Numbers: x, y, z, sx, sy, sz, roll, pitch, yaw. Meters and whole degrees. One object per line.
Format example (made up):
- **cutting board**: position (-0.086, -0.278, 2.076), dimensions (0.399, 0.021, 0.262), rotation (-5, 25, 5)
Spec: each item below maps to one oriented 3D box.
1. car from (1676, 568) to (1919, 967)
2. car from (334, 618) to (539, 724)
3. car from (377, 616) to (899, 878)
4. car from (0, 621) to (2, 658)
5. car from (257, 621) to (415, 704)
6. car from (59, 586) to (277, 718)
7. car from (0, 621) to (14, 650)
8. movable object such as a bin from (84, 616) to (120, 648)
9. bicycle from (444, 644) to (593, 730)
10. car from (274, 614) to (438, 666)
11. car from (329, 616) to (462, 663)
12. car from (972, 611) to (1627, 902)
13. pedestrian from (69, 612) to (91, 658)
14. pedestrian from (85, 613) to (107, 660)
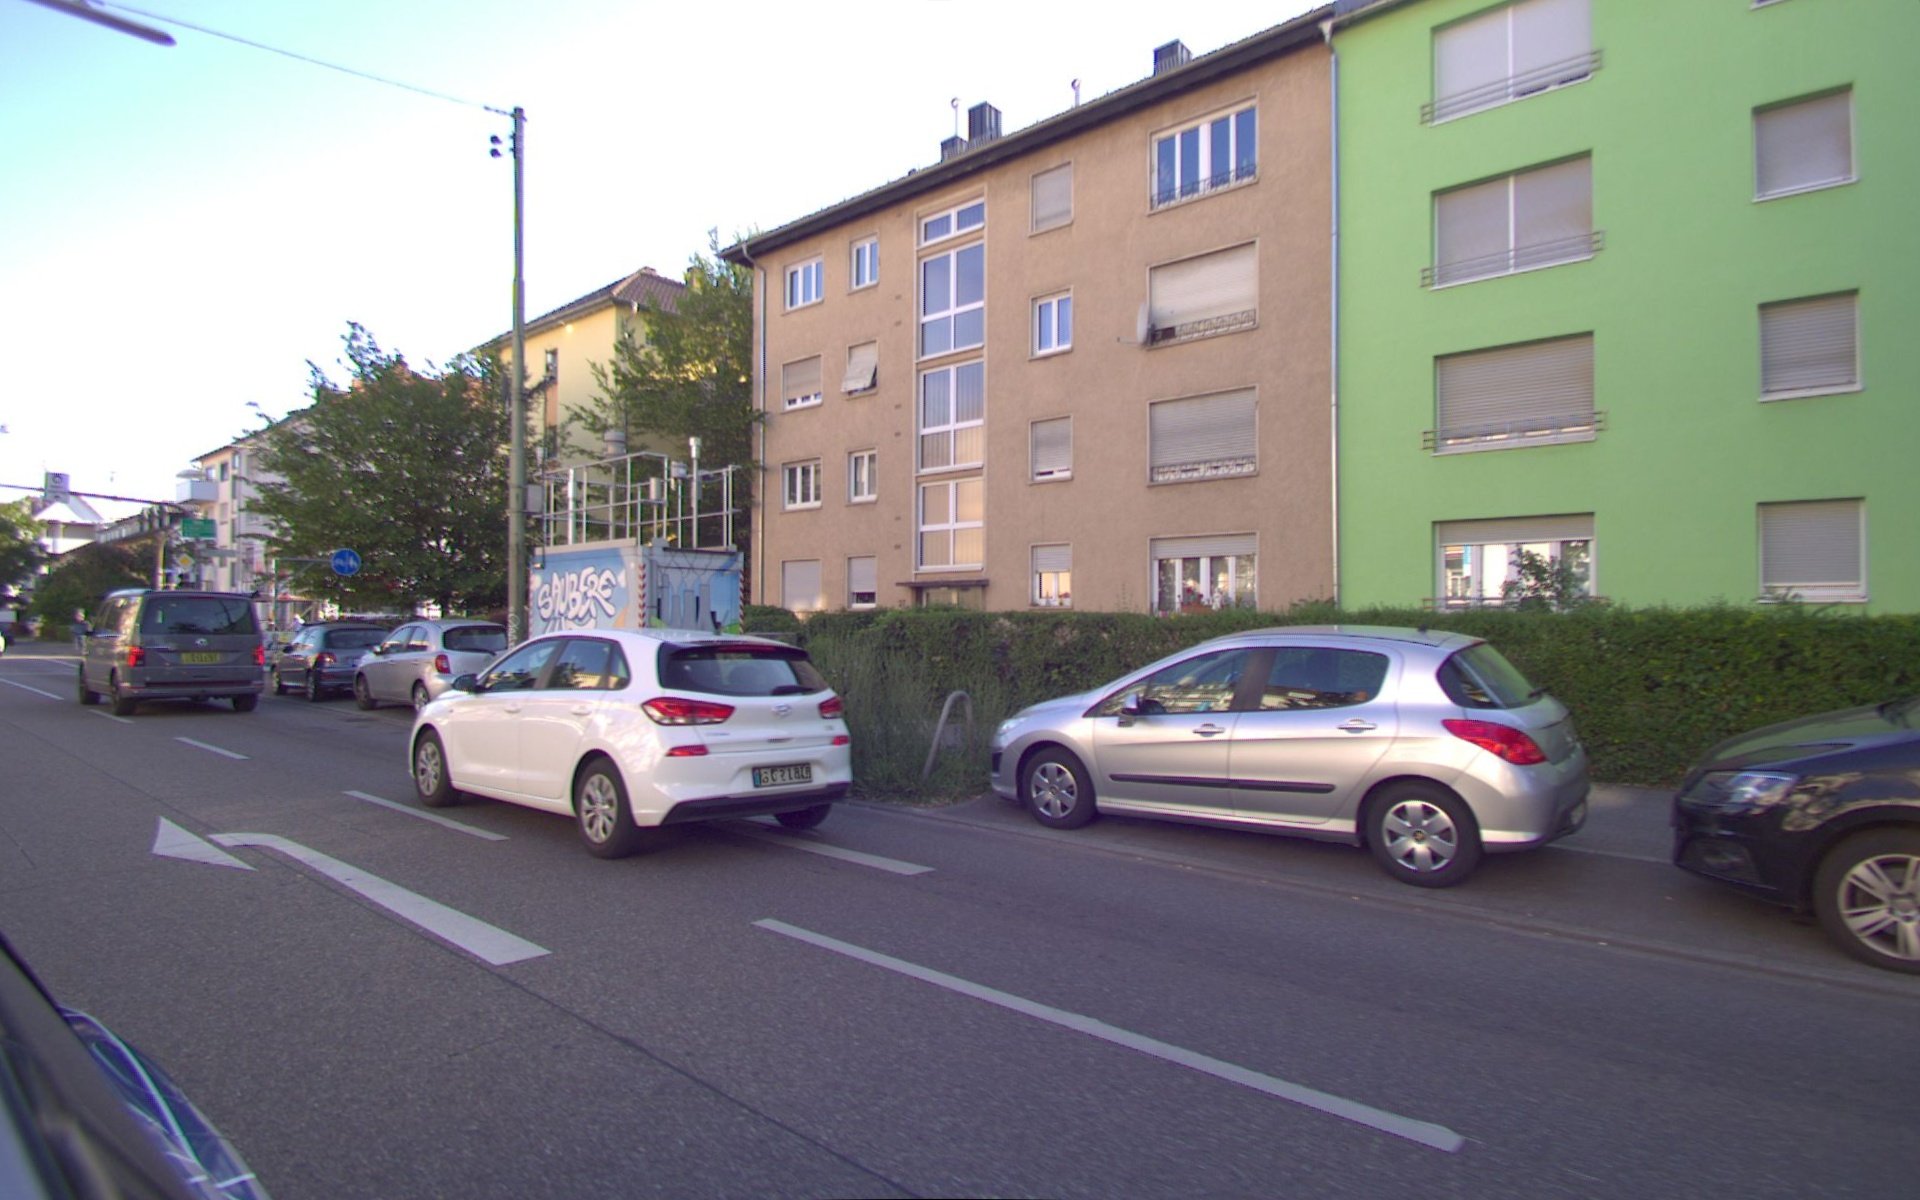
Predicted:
- **car**: position (5.858, 0.727, 4.141), dimensions (4.615, 1.746, 1.765), rotation (-1, -2, 42)
- **car**: position (-8.766, 1.096, 16.853), dimensions (3.781, 1.564, 1.621), rotation (-1, -2, 38)
- **car**: position (-2.588, 0.901, 7.667), dimensions (4.106, 1.457, 1.797), rotation (-1, -4, 40)
- **car**: position (-40.286, 1.586, 40.889), dimensions (4.669, 1.485, 1.817), rotation (-1, -3, 41)
- **car**: position (-12.497, 1.172, 20.173), dimensions (3.942, 1.490, 1.636), rotation (-1, -2, 42)
- **car**: position (-13.679, 0.851, 17.370), dimensions (4.774, 1.961, 1.973), rotation (-1, -4, 41)
- **car**: position (-56.000, 2.022, 58.181), dimensions (3.946, 1.626, 1.788), rotation (-1, -2, 38)
- **movable object such as a bin**: position (-48.424, 1.800, 57.123), dimensions (1.180, 1.670, 1.293), rotation (0, 3, 40)
- **bicycle**: position (-6.584, 1.266, 15.179), dimensions (0.583, 1.097, 1.984), rotation (-1, 0, 41)
- **car**: position (-21.007, 1.344, 35.364), dimensions (1.841, 1.626, 4.547), rotation (-1, 0, 38)
- **car**: position (-23.338, 1.591, 41.964), dimensions (1.907, 1.862, 4.426), rotation (-1, -2, 40)
- **car**: position (2.232, 0.867, 7.327), dimensions (4.187, 1.532, 1.666), rotation (-1, -2, 39)
- **pedestrian**: position (-39.570, 1.571, 45.480), dimensions (0.739, 2.029, 0.631), rotation (-1, -2, 42)
- **pedestrian**: position (-38.130, 1.601, 44.678), dimensions (0.814, 2.029, 0.637), rotation (0, 0, 42)
